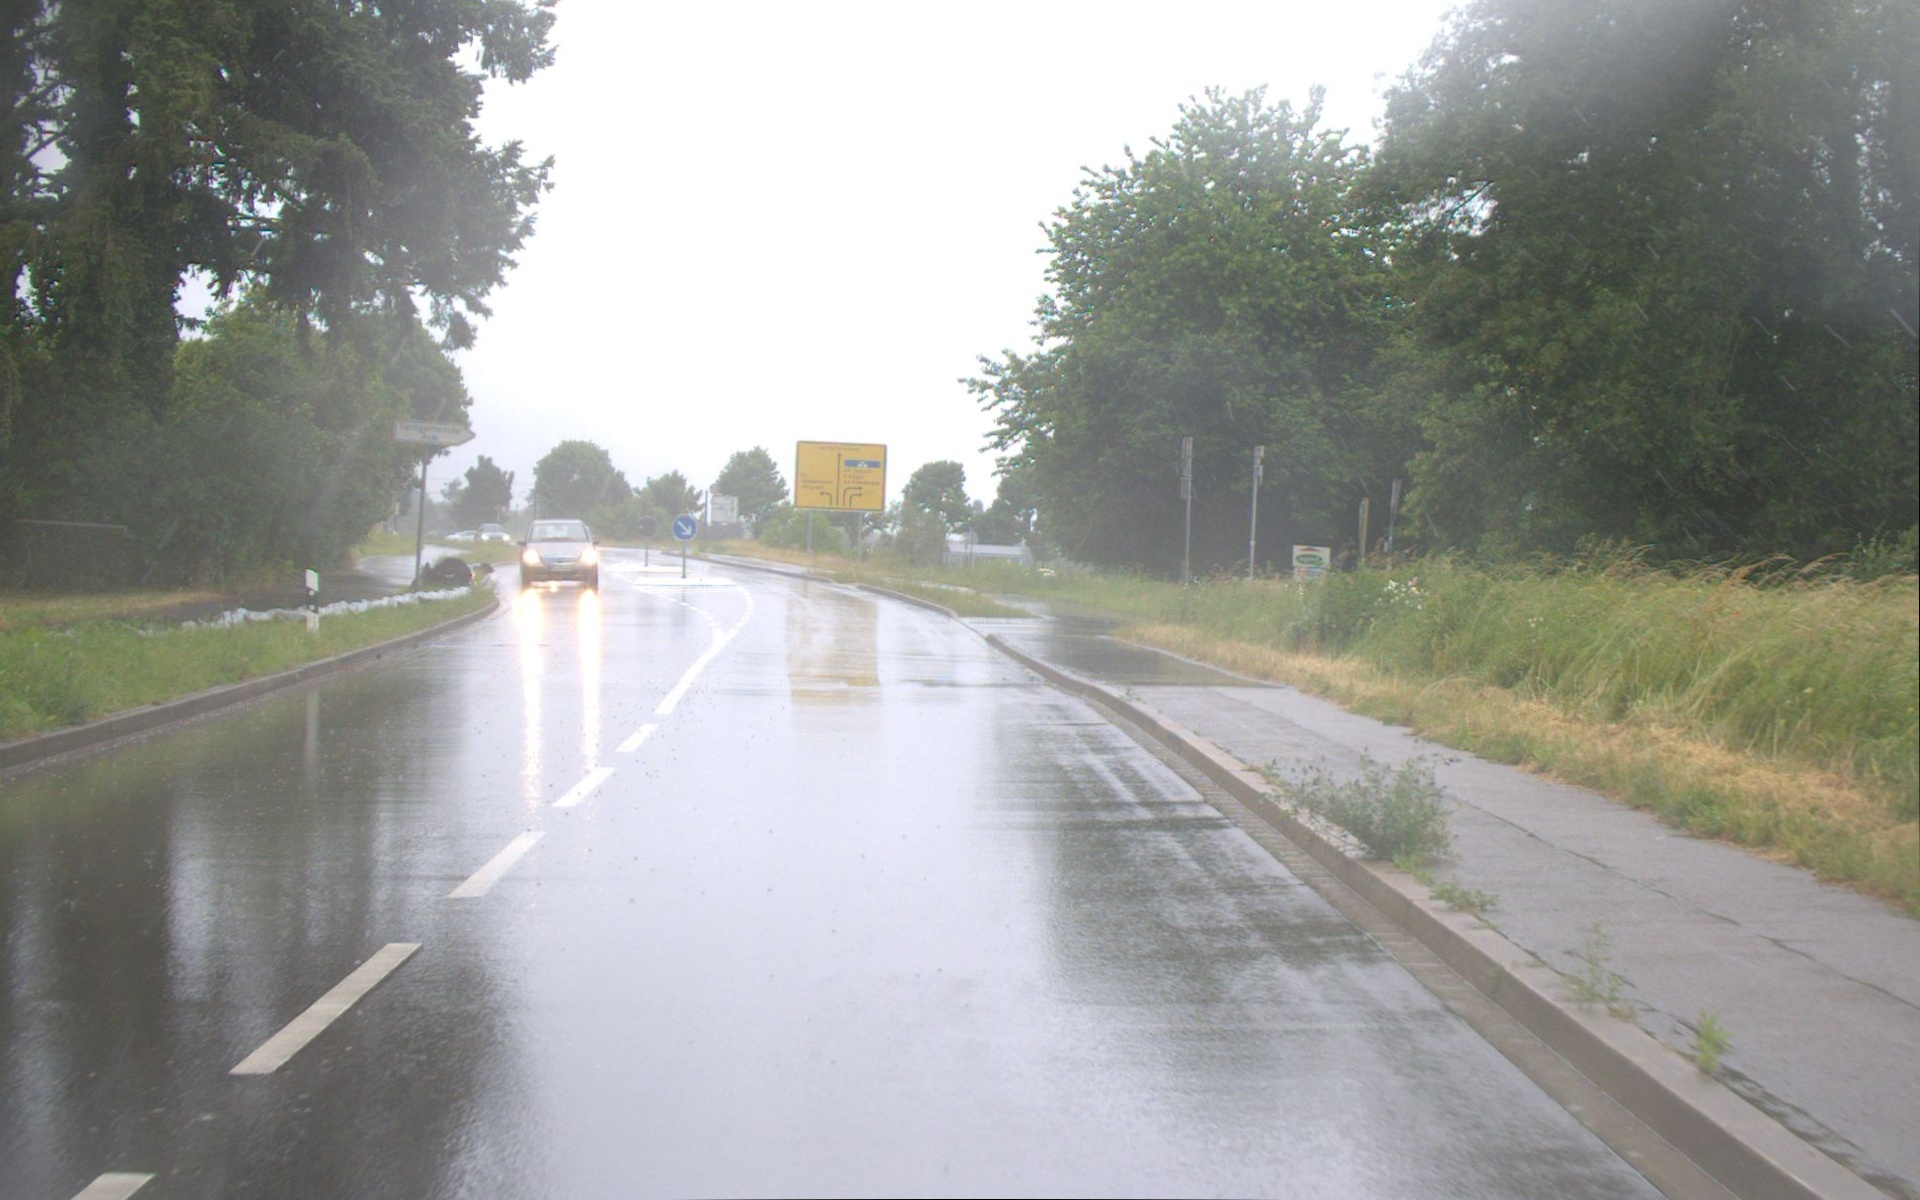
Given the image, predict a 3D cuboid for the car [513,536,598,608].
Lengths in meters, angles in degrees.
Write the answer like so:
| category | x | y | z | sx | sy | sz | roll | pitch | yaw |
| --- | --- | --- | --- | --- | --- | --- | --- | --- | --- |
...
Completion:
| category | x | y | z | sx | sy | sz | roll | pitch | yaw |
| --- | --- | --- | --- | --- | --- | --- | --- | --- | --- |
| car | -9.609 | -0.639 | 81.435 | 1.760 | 1.547 | 4.001 | 3 | -1 | -9 |
